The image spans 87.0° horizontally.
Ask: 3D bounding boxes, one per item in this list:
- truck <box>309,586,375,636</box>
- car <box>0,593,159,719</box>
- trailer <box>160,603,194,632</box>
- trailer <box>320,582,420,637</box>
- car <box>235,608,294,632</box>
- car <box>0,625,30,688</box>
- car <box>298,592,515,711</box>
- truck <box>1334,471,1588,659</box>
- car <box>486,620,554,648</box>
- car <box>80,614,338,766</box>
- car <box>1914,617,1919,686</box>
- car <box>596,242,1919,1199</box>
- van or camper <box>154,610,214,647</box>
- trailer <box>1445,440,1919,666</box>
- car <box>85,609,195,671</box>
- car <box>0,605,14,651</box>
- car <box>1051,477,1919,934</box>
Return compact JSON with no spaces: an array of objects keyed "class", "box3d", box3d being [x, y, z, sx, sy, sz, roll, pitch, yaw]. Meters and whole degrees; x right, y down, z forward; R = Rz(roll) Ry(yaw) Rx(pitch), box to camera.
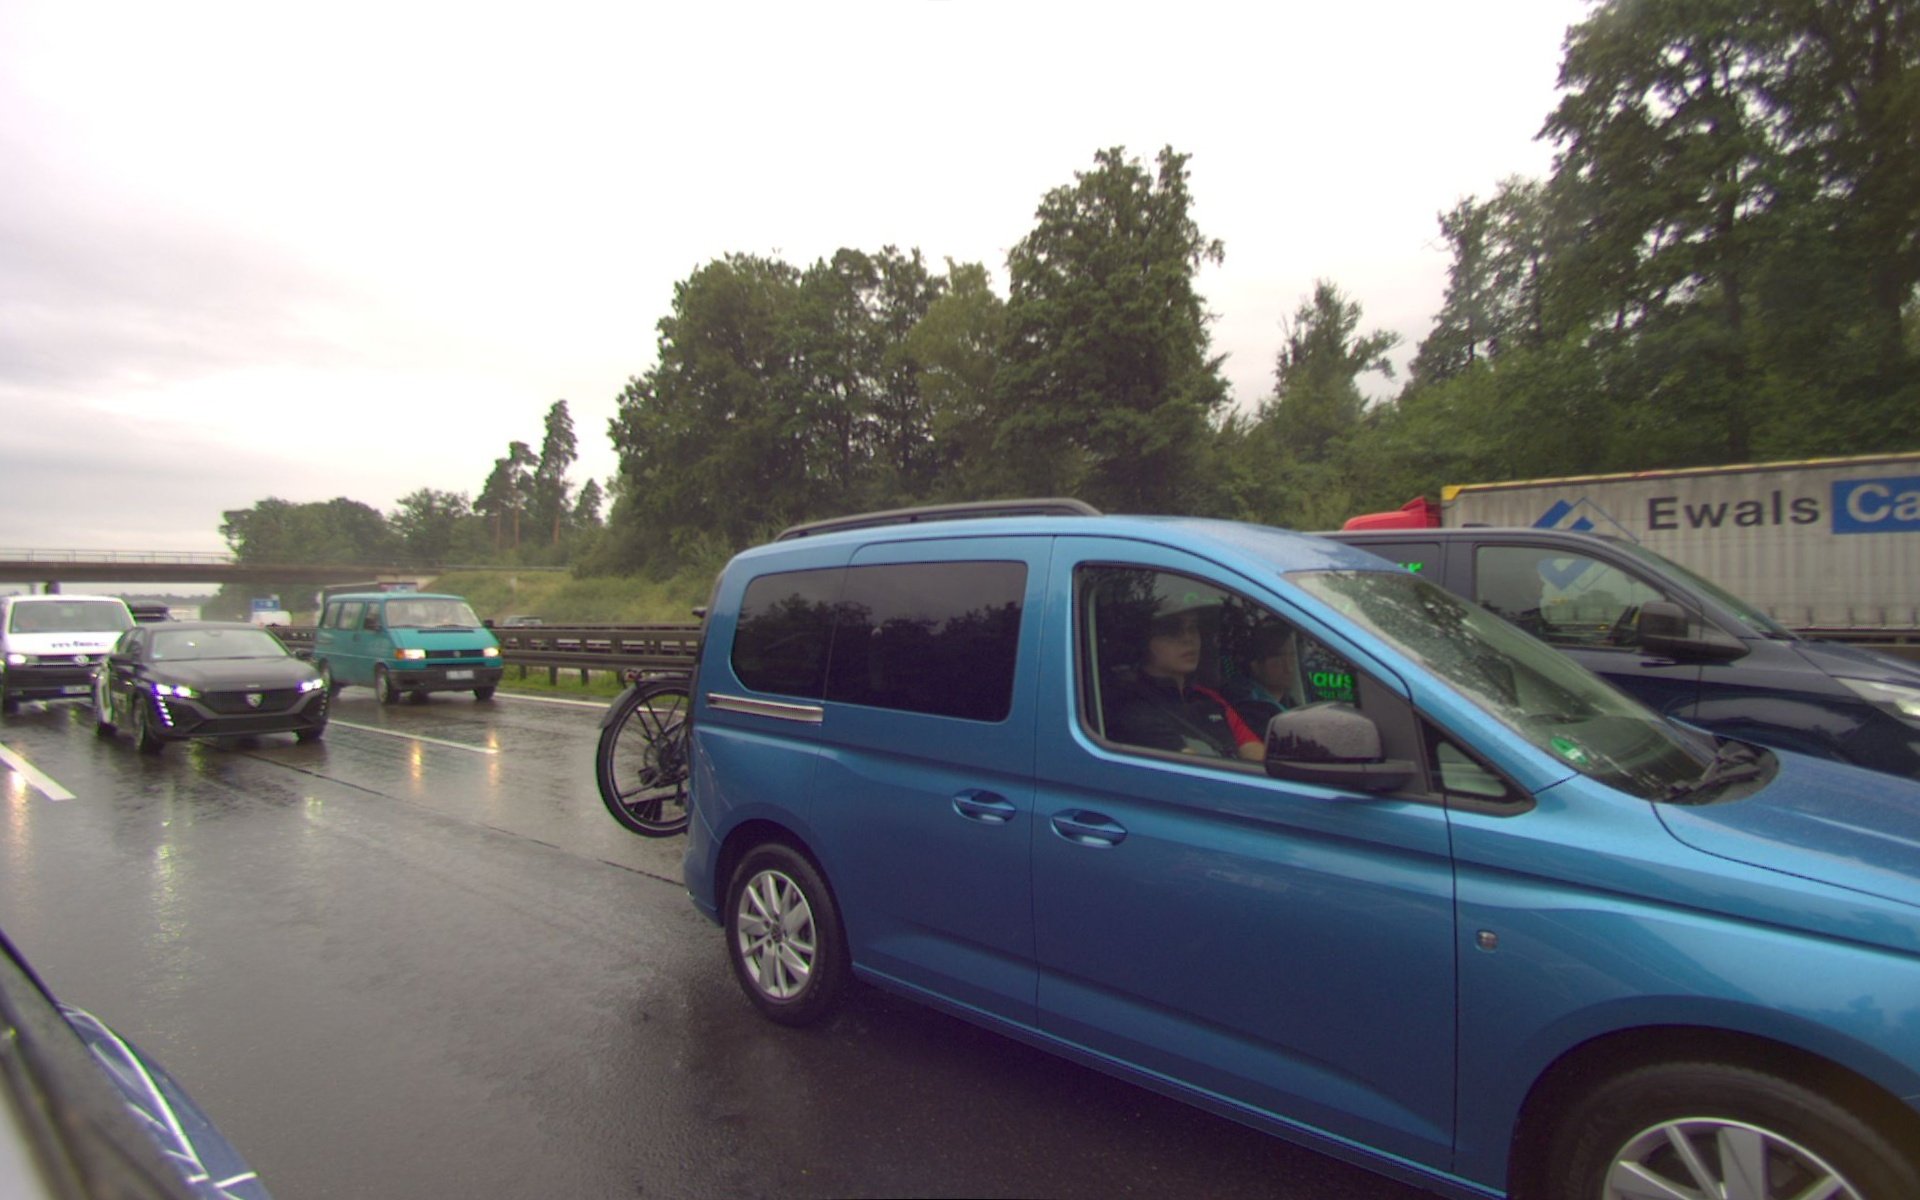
[{"class":"truck","box3d":[-49.621,0.931,81.182,6.264,3.847,2.987,-2,-1,43]},{"class":"car","box3d":[-15.582,0.892,17.580,4.768,1.894,1.968,-2,-1,44]},{"class":"trailer","box3d":[-108.393,2.417,140.017,2.652,3.847,9.012,0,-1,-44]},{"class":"trailer","box3d":[-44.765,0.818,76.508,13.564,3.847,2.991,-2,-1,44]},{"class":"car","box3d":[-45.846,1.348,66.690,4.702,1.519,1.974,-2,-2,39]},{"class":"car","box3d":[-25.229,1.431,25.889,4.467,1.516,1.825,-1,-1,44]},{"class":"car","box3d":[-10.087,0.840,18.276,4.756,1.877,1.891,-1,0,41]},{"class":"truck","box3d":[11.825,-0.683,24.042,4.888,3.984,2.676,-1,-2,41]},{"class":"car","box3d":[-21.731,1.666,49.948,3.755,1.314,1.683,-2,-1,42]},{"class":"car","box3d":[-9.316,0.948,12.400,4.467,1.516,1.825,-1,-1,44]},{"class":"car","box3d":[20.255,0.974,18.467,3.997,1.355,1.783,-1,-2,40]},{"class":"car","box3d":[0.970,0.463,3.525,5.017,1.926,2.244,-2,-1,44]},{"class":"van or camper","box3d":[-52.838,1.927,68.847,5.699,2.441,2.204,-1,-1,42]},{"class":"trailer","box3d":[17.159,-0.787,19.396,13.953,3.984,2.691,-1,-2,41]},{"class":"car","box3d":[-26.554,1.248,32.711,4.603,1.839,1.957,-1,0,40]},{"class":"car","box3d":[-35.673,1.037,36.477,4.767,1.572,1.968,-2,-1,43]},{"class":"car","box3d":[3.277,0.476,6.431,5.241,1.958,1.970,-1,0,42]}]
